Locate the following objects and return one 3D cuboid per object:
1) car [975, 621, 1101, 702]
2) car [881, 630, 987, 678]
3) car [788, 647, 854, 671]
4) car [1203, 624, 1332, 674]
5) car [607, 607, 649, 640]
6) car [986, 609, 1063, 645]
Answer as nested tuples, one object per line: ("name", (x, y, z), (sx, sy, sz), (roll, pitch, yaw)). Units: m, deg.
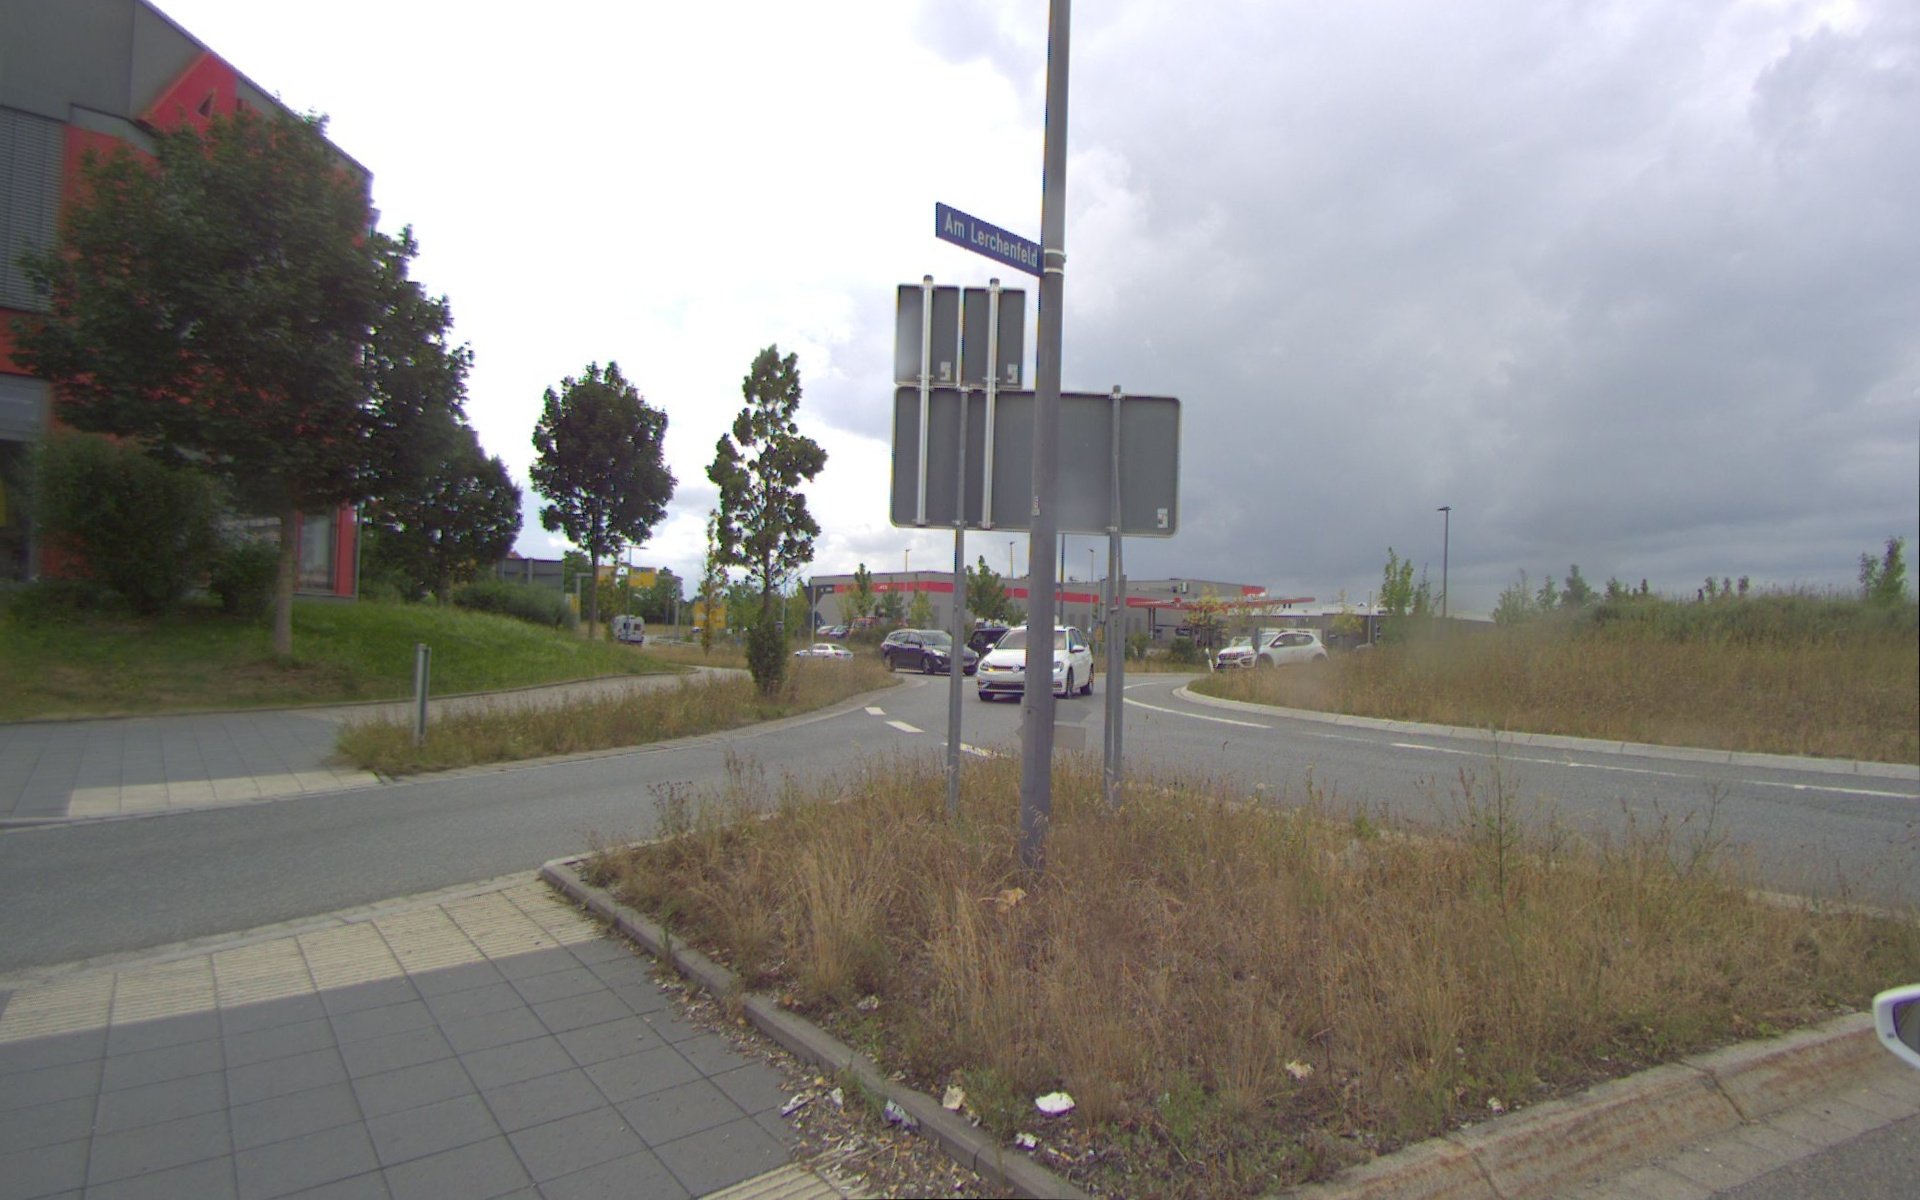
("car", (1.715, 1.179, 20.407), (1.693, 1.427, 4.646), (1, -2, 15))
("car", (-0.904, 1.759, 33.144), (1.661, 1.267, 3.557), (5, -1, -37))
("car", (-8.494, 3.605, 61.509), (3.673, 1.318, 1.500), (1, -2, 20))
("car", (10.195, 1.601, 33.256), (4.033, 1.578, 1.722), (1, -3, -27))
("car", (-27.684, 1.895, 83.632), (2.254, 2.418, 5.669), (5, -1, -28))
("car", (6.091, 2.543, 93.673), (7.634, 2.856, 2.441), (5, -2, -42))
